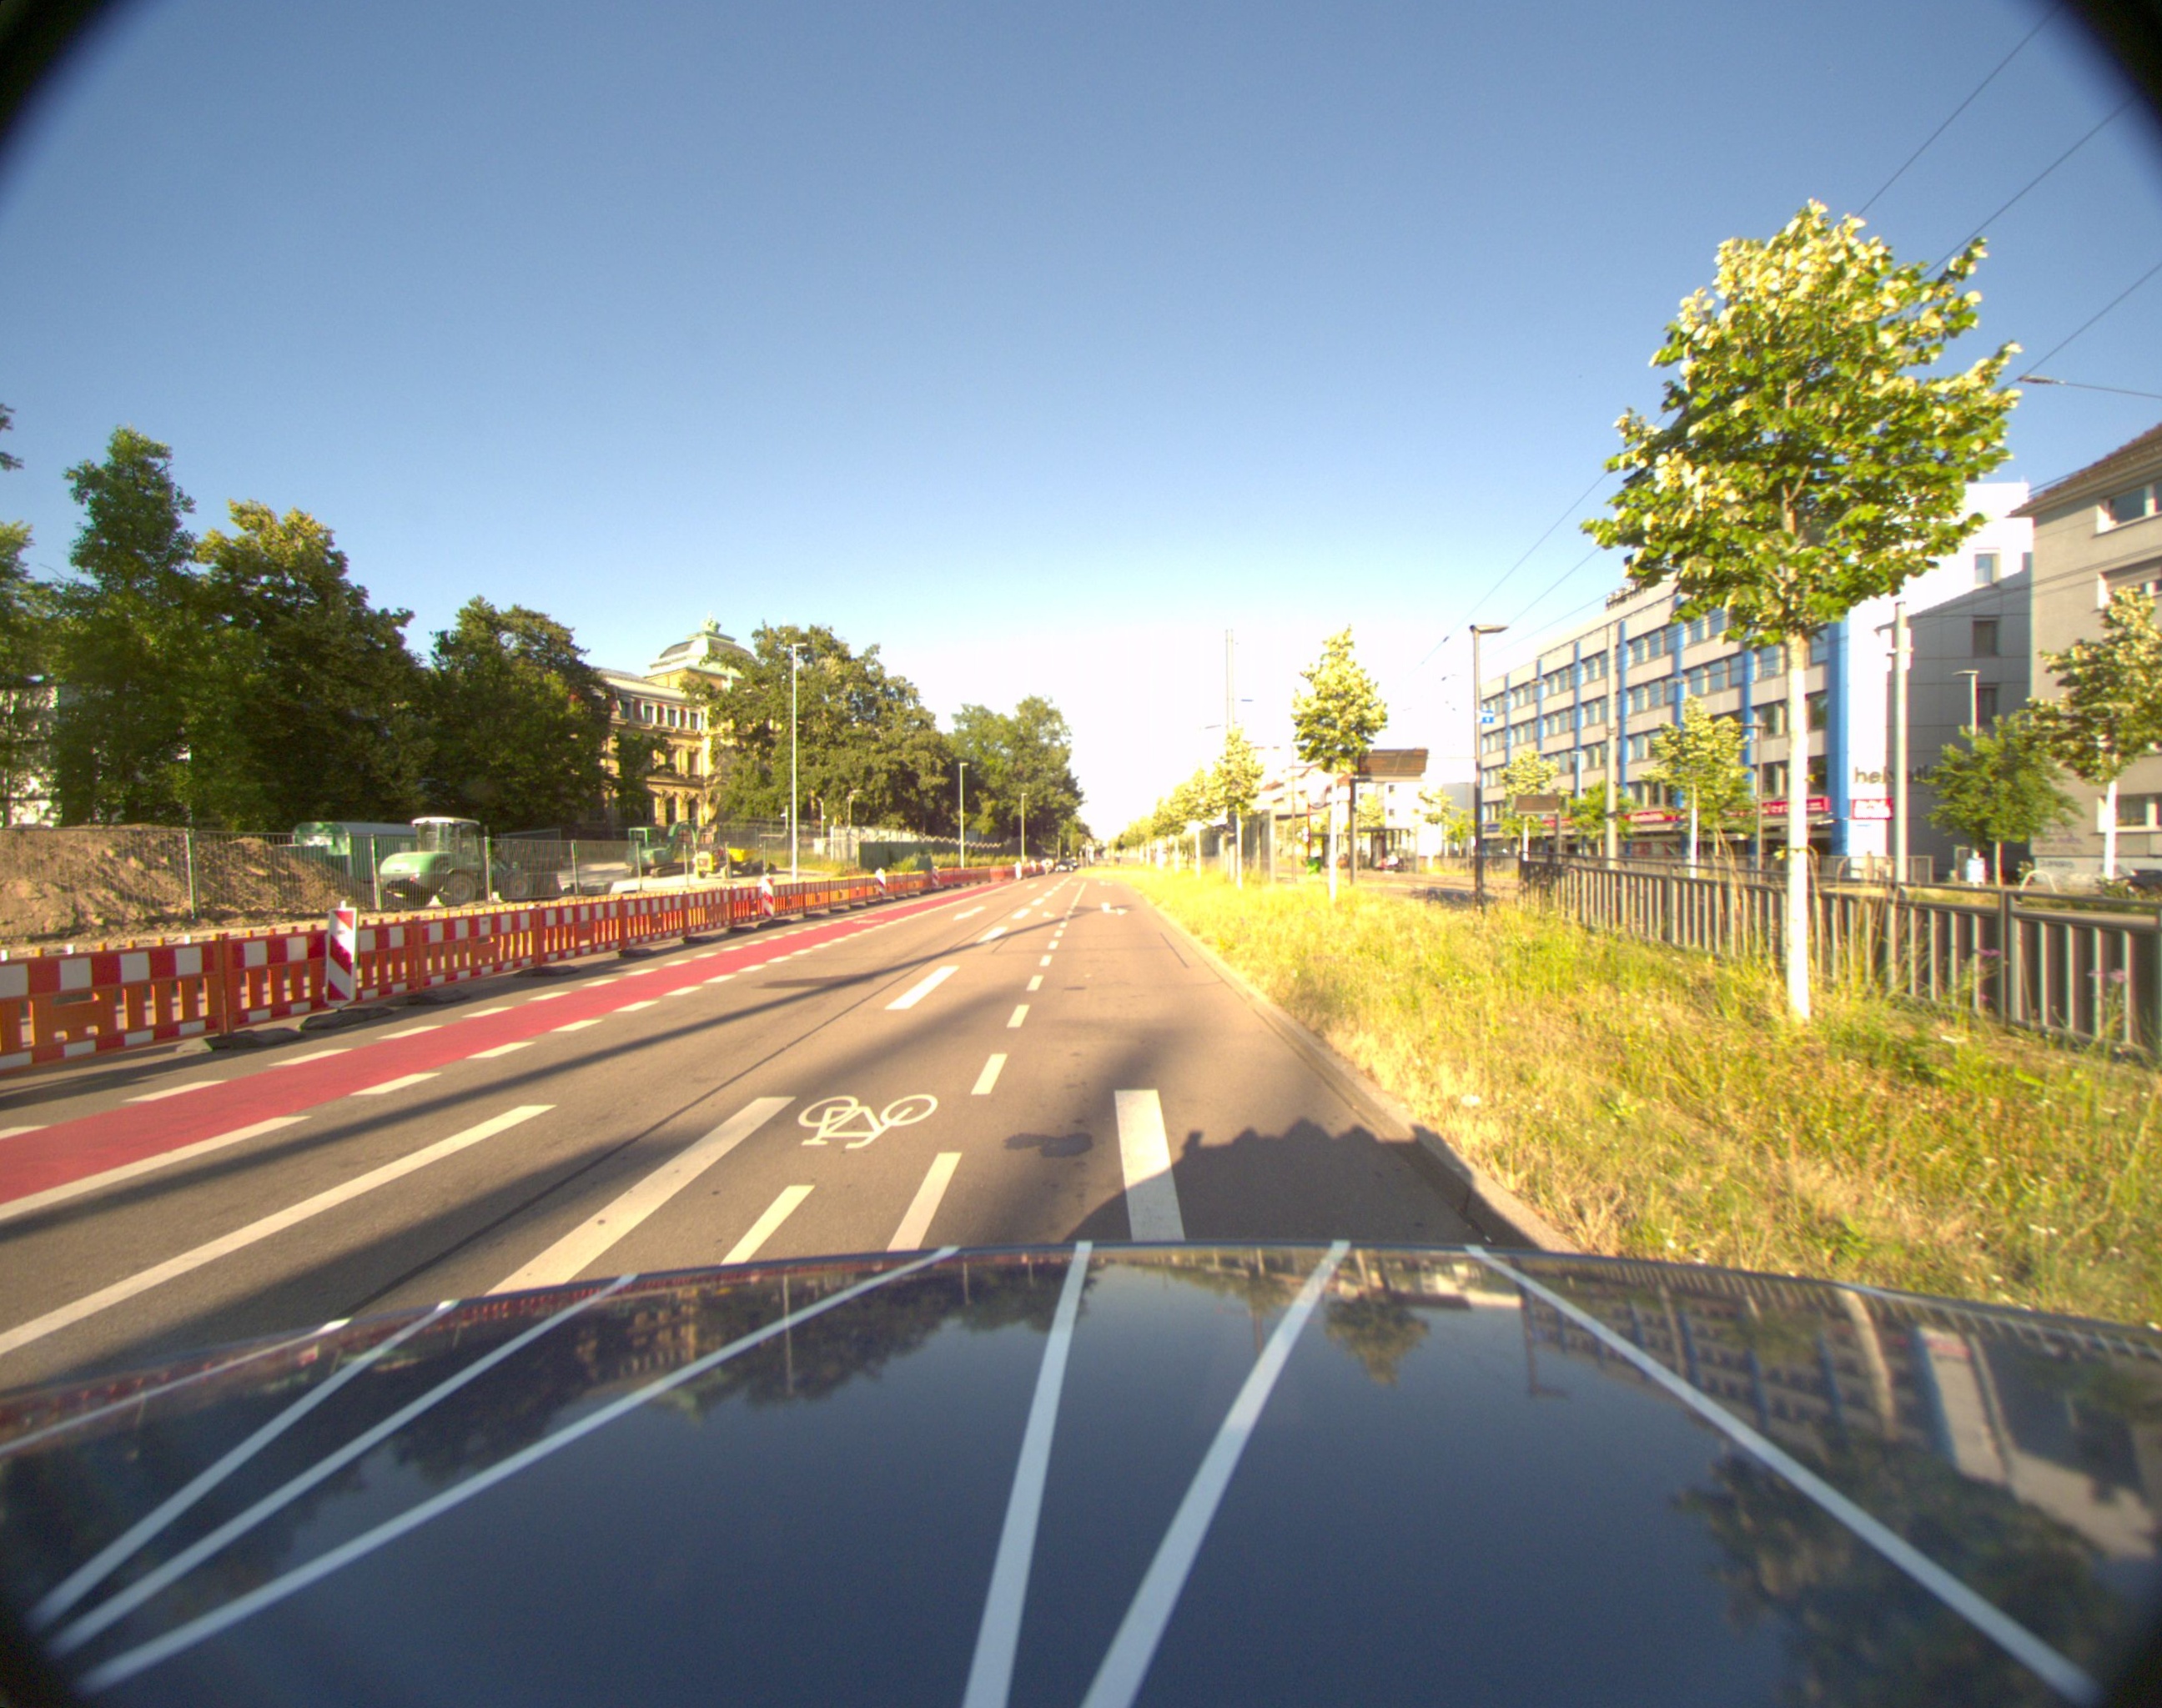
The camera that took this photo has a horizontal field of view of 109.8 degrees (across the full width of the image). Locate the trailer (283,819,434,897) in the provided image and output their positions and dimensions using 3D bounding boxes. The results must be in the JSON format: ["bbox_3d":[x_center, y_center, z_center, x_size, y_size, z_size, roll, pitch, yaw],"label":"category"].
[{"bbox_3d":[-31.521,0.077,33.364,2.616,3.075,3.981,0,5,-2],"label":"trailer"}]

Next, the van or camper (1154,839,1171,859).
[{"bbox_3d":[13.538,-0.796,126.163,2.510,3.149,7.477,-1,0,4],"label":"van or camper"}]

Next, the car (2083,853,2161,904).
[{"bbox_3d":[33.230,0.724,22.244,1.998,1.499,4.431,0,0,1],"label":"car"}]

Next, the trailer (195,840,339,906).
[{"bbox_3d":[-31.656,0.703,29.659,2.954,2.311,2.221,0,6,-2],"label":"trailer"}]

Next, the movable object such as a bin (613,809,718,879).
[{"bbox_3d":[-22.490,-0.500,41.451,2.280,3.537,5.501,-1,0,6],"label":"movable object such as a bin"}]

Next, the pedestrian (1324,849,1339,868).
[{"bbox_3d":[18.829,0.332,57.107,0.840,1.402,0.804,0,1,1],"label":"pedestrian"}]

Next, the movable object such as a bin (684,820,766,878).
[{"bbox_3d":[-18.730,-0.237,40.171,1.997,2.887,4.002,-1,0,8],"label":"movable object such as a bin"}]

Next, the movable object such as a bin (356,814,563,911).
[{"bbox_3d":[-19.025,0.233,23.656,2.281,2.688,4.942,-1,0,1],"label":"movable object such as a bin"}]

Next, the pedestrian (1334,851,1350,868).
[{"bbox_3d":[18.738,0.415,54.537,0.936,1.190,0.764,0,1,1],"label":"pedestrian"}]

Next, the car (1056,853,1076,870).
[{"bbox_3d":[-1.638,0.801,83.891,2.080,1.827,4.000,-1,0,1],"label":"car"}]
